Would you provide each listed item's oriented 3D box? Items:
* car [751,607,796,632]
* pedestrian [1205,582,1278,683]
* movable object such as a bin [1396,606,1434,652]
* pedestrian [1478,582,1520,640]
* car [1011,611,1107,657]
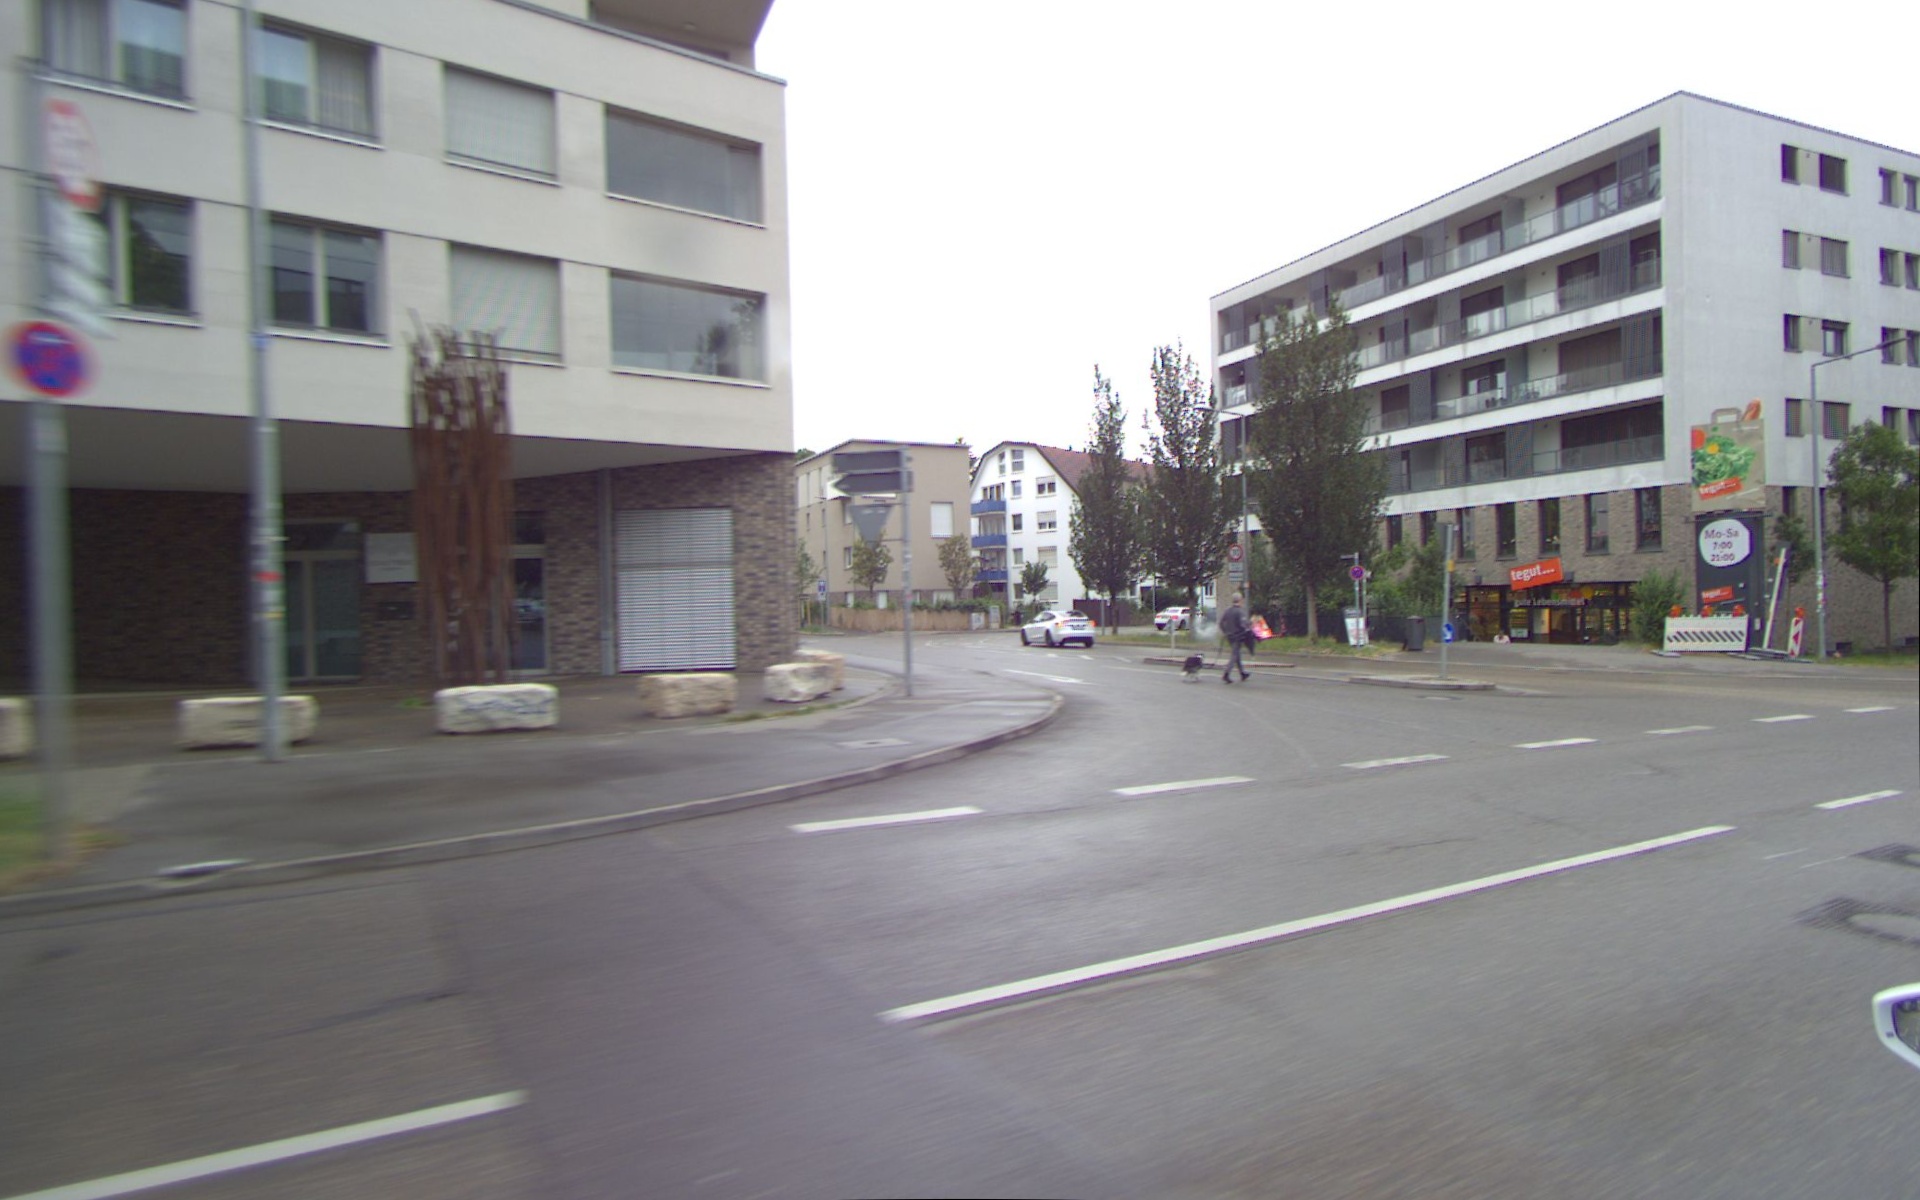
[{"bbox_3d":[-12.222,1.245,65.617,1.973,1.503,3.973,0,1,-26],"label":"car"},{"bbox_3d":[5.934,0.668,21.203,1.092,2.040,1.045,1,0,-44],"label":"pedestrian"},{"bbox_3d":[13.934,0.885,30.748,0.812,1.381,0.712,0,0,-29],"label":"movable object such as a bin"},{"bbox_3d":[19.327,0.385,36.042,1.105,2.041,0.878,0,1,-31],"label":"pedestrian"},{"bbox_3d":[3.857,1.317,39.919,2.031,1.683,4.801,1,-1,-18],"label":"car"}]
